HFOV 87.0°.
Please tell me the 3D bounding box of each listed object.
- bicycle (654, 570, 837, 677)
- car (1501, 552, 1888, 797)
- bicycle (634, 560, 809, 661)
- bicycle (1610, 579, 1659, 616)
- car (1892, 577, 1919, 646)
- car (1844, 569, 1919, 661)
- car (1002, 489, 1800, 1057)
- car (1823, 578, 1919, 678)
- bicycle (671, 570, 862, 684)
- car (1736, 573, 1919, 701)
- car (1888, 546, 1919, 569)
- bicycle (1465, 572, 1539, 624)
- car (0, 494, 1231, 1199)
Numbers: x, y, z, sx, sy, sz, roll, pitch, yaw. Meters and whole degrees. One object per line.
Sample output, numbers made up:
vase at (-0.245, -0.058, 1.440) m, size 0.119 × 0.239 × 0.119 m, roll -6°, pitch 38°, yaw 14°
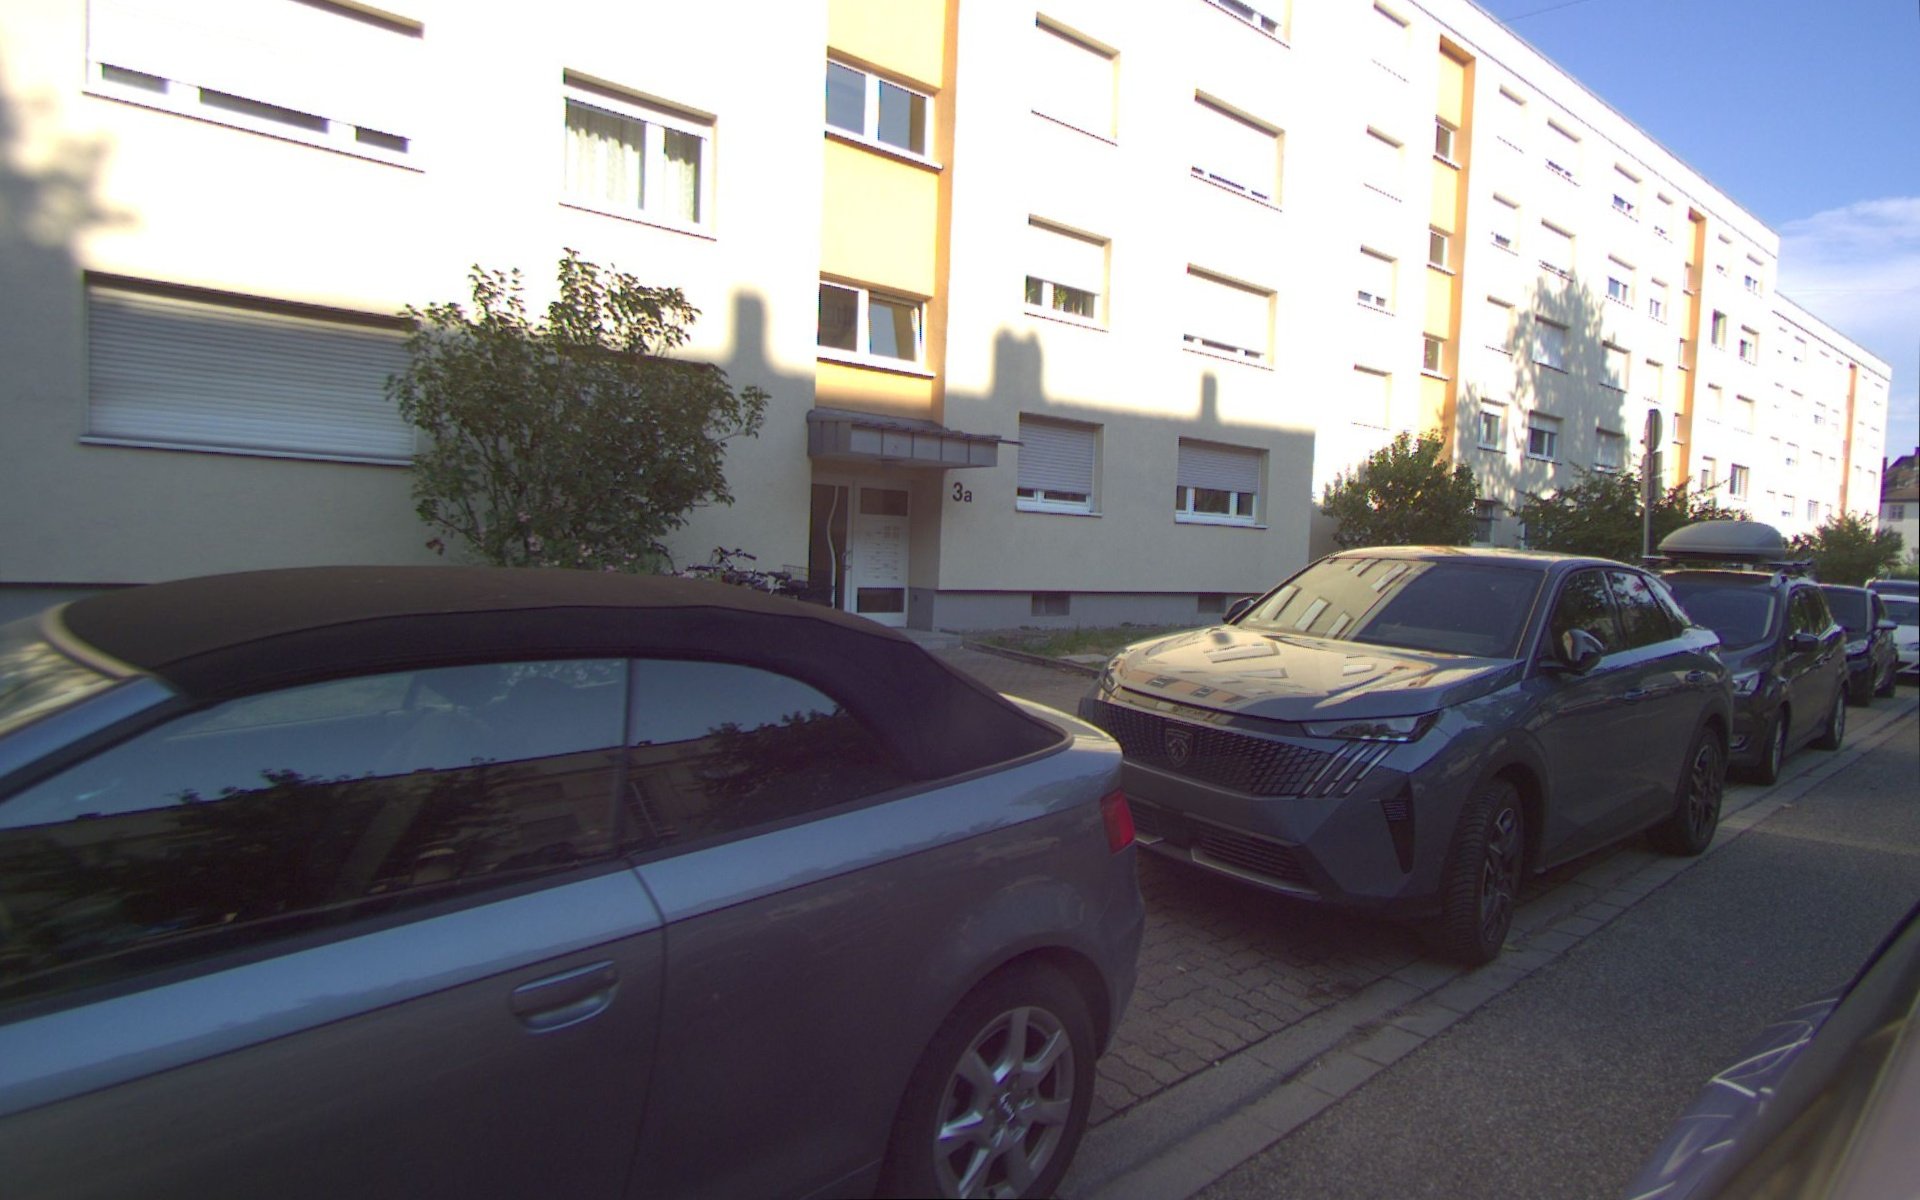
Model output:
bicycle at (-2.215, 0.206, 10.607) m, size 1.800 × 1.034 × 0.614 m, roll -1°, pitch 2°, yaw -39°
car at (6.797, 0.481, 9.186) m, size 4.267 × 1.671 × 1.901 m, roll 0°, pitch 3°, yaw -41°
bicycle at (-2.606, 0.077, 11.179) m, size 1.800 × 1.034 × 0.614 m, roll -1°, pitch 2°, yaw -39°
bicycle at (22.249, -0.106, 33.371) m, size 2.350 × 1.126 × 0.495 m, roll -1°, pitch 7°, yaw -37°
car at (23.843, 0.316, 24.025) m, size 4.098 × 1.518 × 1.843 m, roll -2°, pitch 8°, yaw -40°
car at (20.179, 0.333, 21.100) m, size 4.683 × 1.772 × 2.027 m, roll 2°, pitch -2°, yaw -42°
car at (2.587, 0.408, 5.290) m, size 4.597 × 1.677 × 1.932 m, roll -2°, pitch 7°, yaw -41°
car at (16.715, 0.423, 17.711) m, size 4.642 × 1.431 × 1.684 m, roll -2°, pitch 7°, yaw -41°
bicycle at (-1.894, 0.225, 10.085) m, size 1.800 × 1.034 × 0.614 m, roll -1°, pitch 2°, yaw -39°
car at (12.584, 0.411, 14.452) m, size 3.972 × 1.512 × 1.609 m, roll -2°, pitch 4°, yaw -41°
car at (75.959, -3.349, 79.747) m, size 1.965 × 1.816 × 3.996 m, roll -1°, pitch 2°, yaw -40°
bicycle at (12.163, -0.027, 22.684) m, size 2.351 × 1.095 × 0.601 m, roll 1°, pitch 3°, yaw -41°
car at (-1.341, 0.600, 2.000) m, size 3.931 × 1.491 × 1.744 m, roll -2°, pitch 2°, yaw -41°
